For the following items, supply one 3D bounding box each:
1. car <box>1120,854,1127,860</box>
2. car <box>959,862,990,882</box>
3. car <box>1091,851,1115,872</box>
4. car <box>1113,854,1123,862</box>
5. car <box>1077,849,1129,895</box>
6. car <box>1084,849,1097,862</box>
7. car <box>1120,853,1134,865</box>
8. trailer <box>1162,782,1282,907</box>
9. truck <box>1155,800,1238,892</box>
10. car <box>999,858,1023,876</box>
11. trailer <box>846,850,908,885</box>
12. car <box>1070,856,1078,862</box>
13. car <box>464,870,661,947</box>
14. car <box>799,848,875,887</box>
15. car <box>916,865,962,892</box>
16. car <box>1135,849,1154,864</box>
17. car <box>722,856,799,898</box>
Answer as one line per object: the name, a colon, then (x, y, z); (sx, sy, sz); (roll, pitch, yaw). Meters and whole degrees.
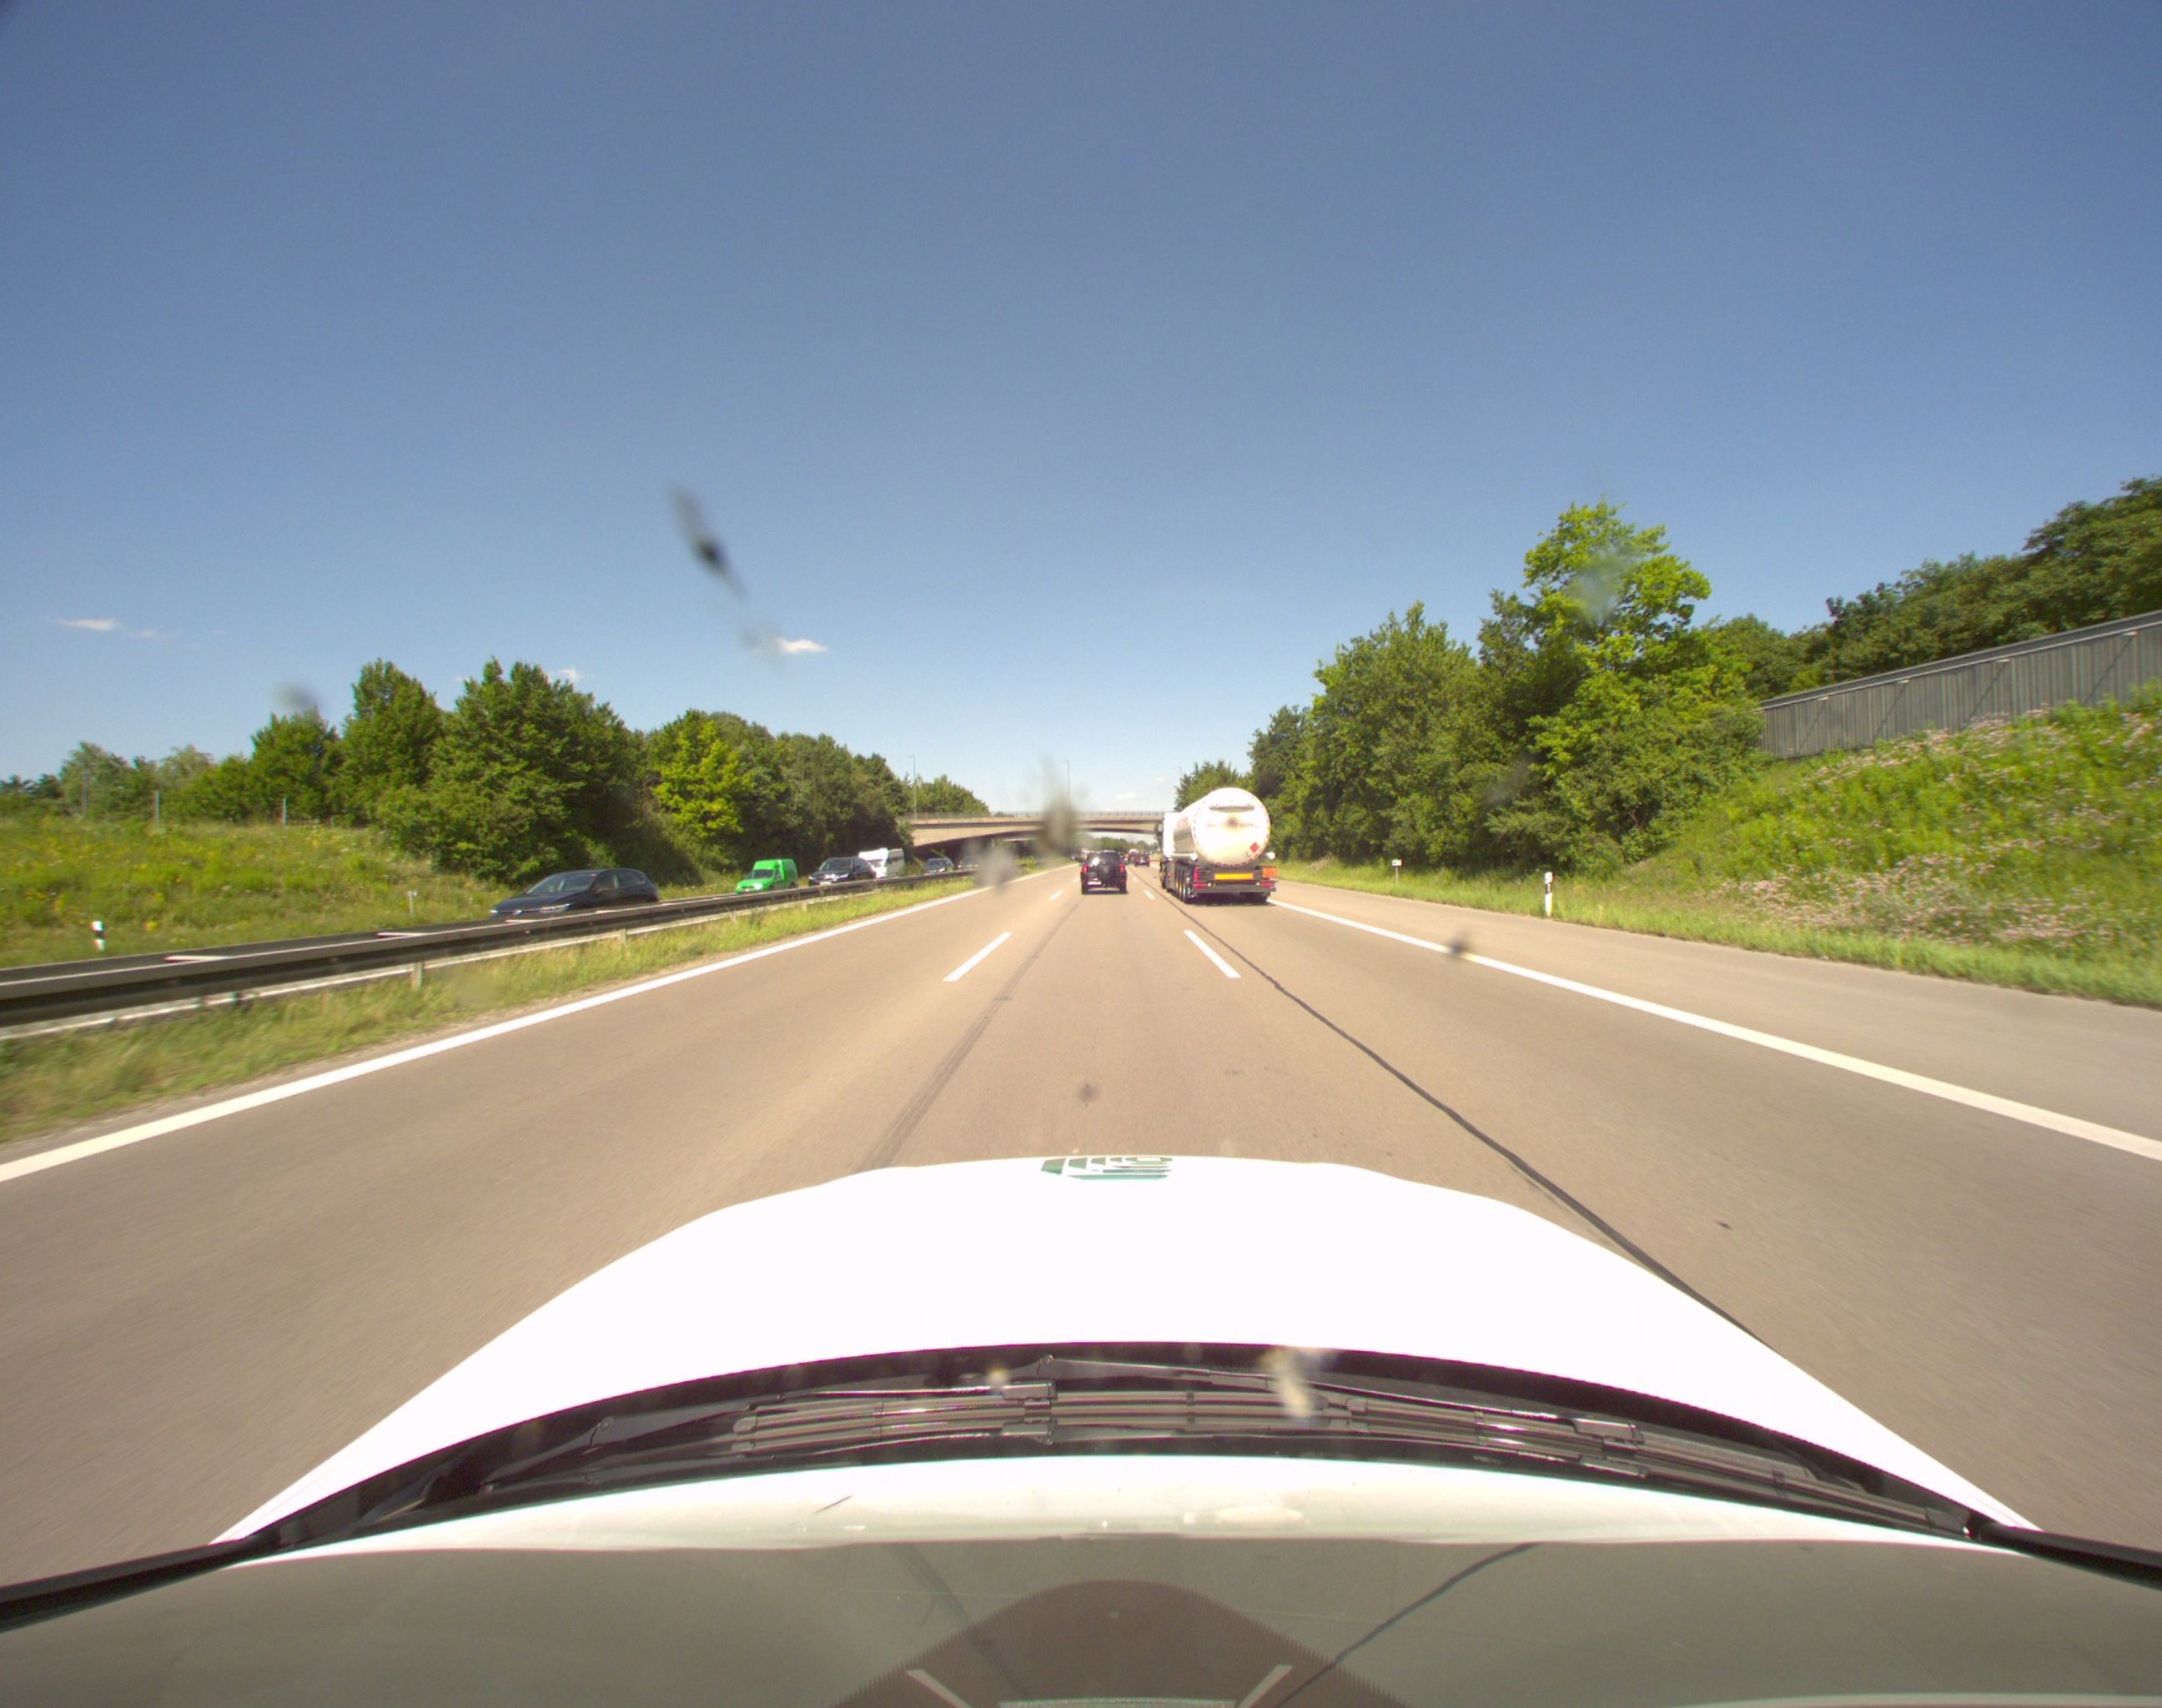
car: (13.270, 0.953, 254.805); (1.805, 1.746, 4.001); (-2, 0, 2)
car: (-9.190, 1.514, 70.829); (1.908, 1.601, 4.436); (-2, 0, 2)
car: (1.920, 0.652, 73.220); (1.987, 1.706, 4.334); (-2, 0, 0)
car: (8.302, 0.851, 183.325); (1.986, 1.750, 4.207); (-2, 0, 2)
car: (0.861, 0.688, 32.344); (1.900, 1.665, 4.001); (-2, 0, 1)
car: (1.563, 0.294, 135.502); (1.987, 2.013, 4.949); (-2, 0, 0)
car: (6.498, 0.737, 115.108); (1.835, 1.611, 4.003); (-2, -1, 3)
trailer: (4.431, -0.246, 27.971); (2.637, 3.390, 11.158); (-1, 0, 2)
truck: (4.564, -0.275, 33.395); (2.628, 3.374, 6.490); (-1, 0, 2)
car: (-8.158, 1.521, 95.032); (1.984, 2.013, 4.006); (-2, 0, 5)
trailer: (-17.234, 1.057, 69.385); (2.721, 2.687, 8.634); (-2, 0, 2)
car: (-1.792, 1.311, 213.638); (1.789, 1.666, 4.133); (-2, 0, 4)
car: (-11.387, 1.122, 18.258); (1.709, 1.390, 4.002); (-2, 0, 2)
car: (-10.751, 0.608, 36.219); (1.843, 1.574, 4.424); (-2, -1, 2)
car: (-9.643, 1.632, 55.570); (1.985, 1.604, 5.093); (-2, 0, 3)
car: (7.388, 0.289, 95.715); (1.986, 1.684, 4.001); (-2, -1, 1)
car: (-15.135, 1.046, 38.758); (1.807, 1.809, 4.382); (-2, 0, 1)
